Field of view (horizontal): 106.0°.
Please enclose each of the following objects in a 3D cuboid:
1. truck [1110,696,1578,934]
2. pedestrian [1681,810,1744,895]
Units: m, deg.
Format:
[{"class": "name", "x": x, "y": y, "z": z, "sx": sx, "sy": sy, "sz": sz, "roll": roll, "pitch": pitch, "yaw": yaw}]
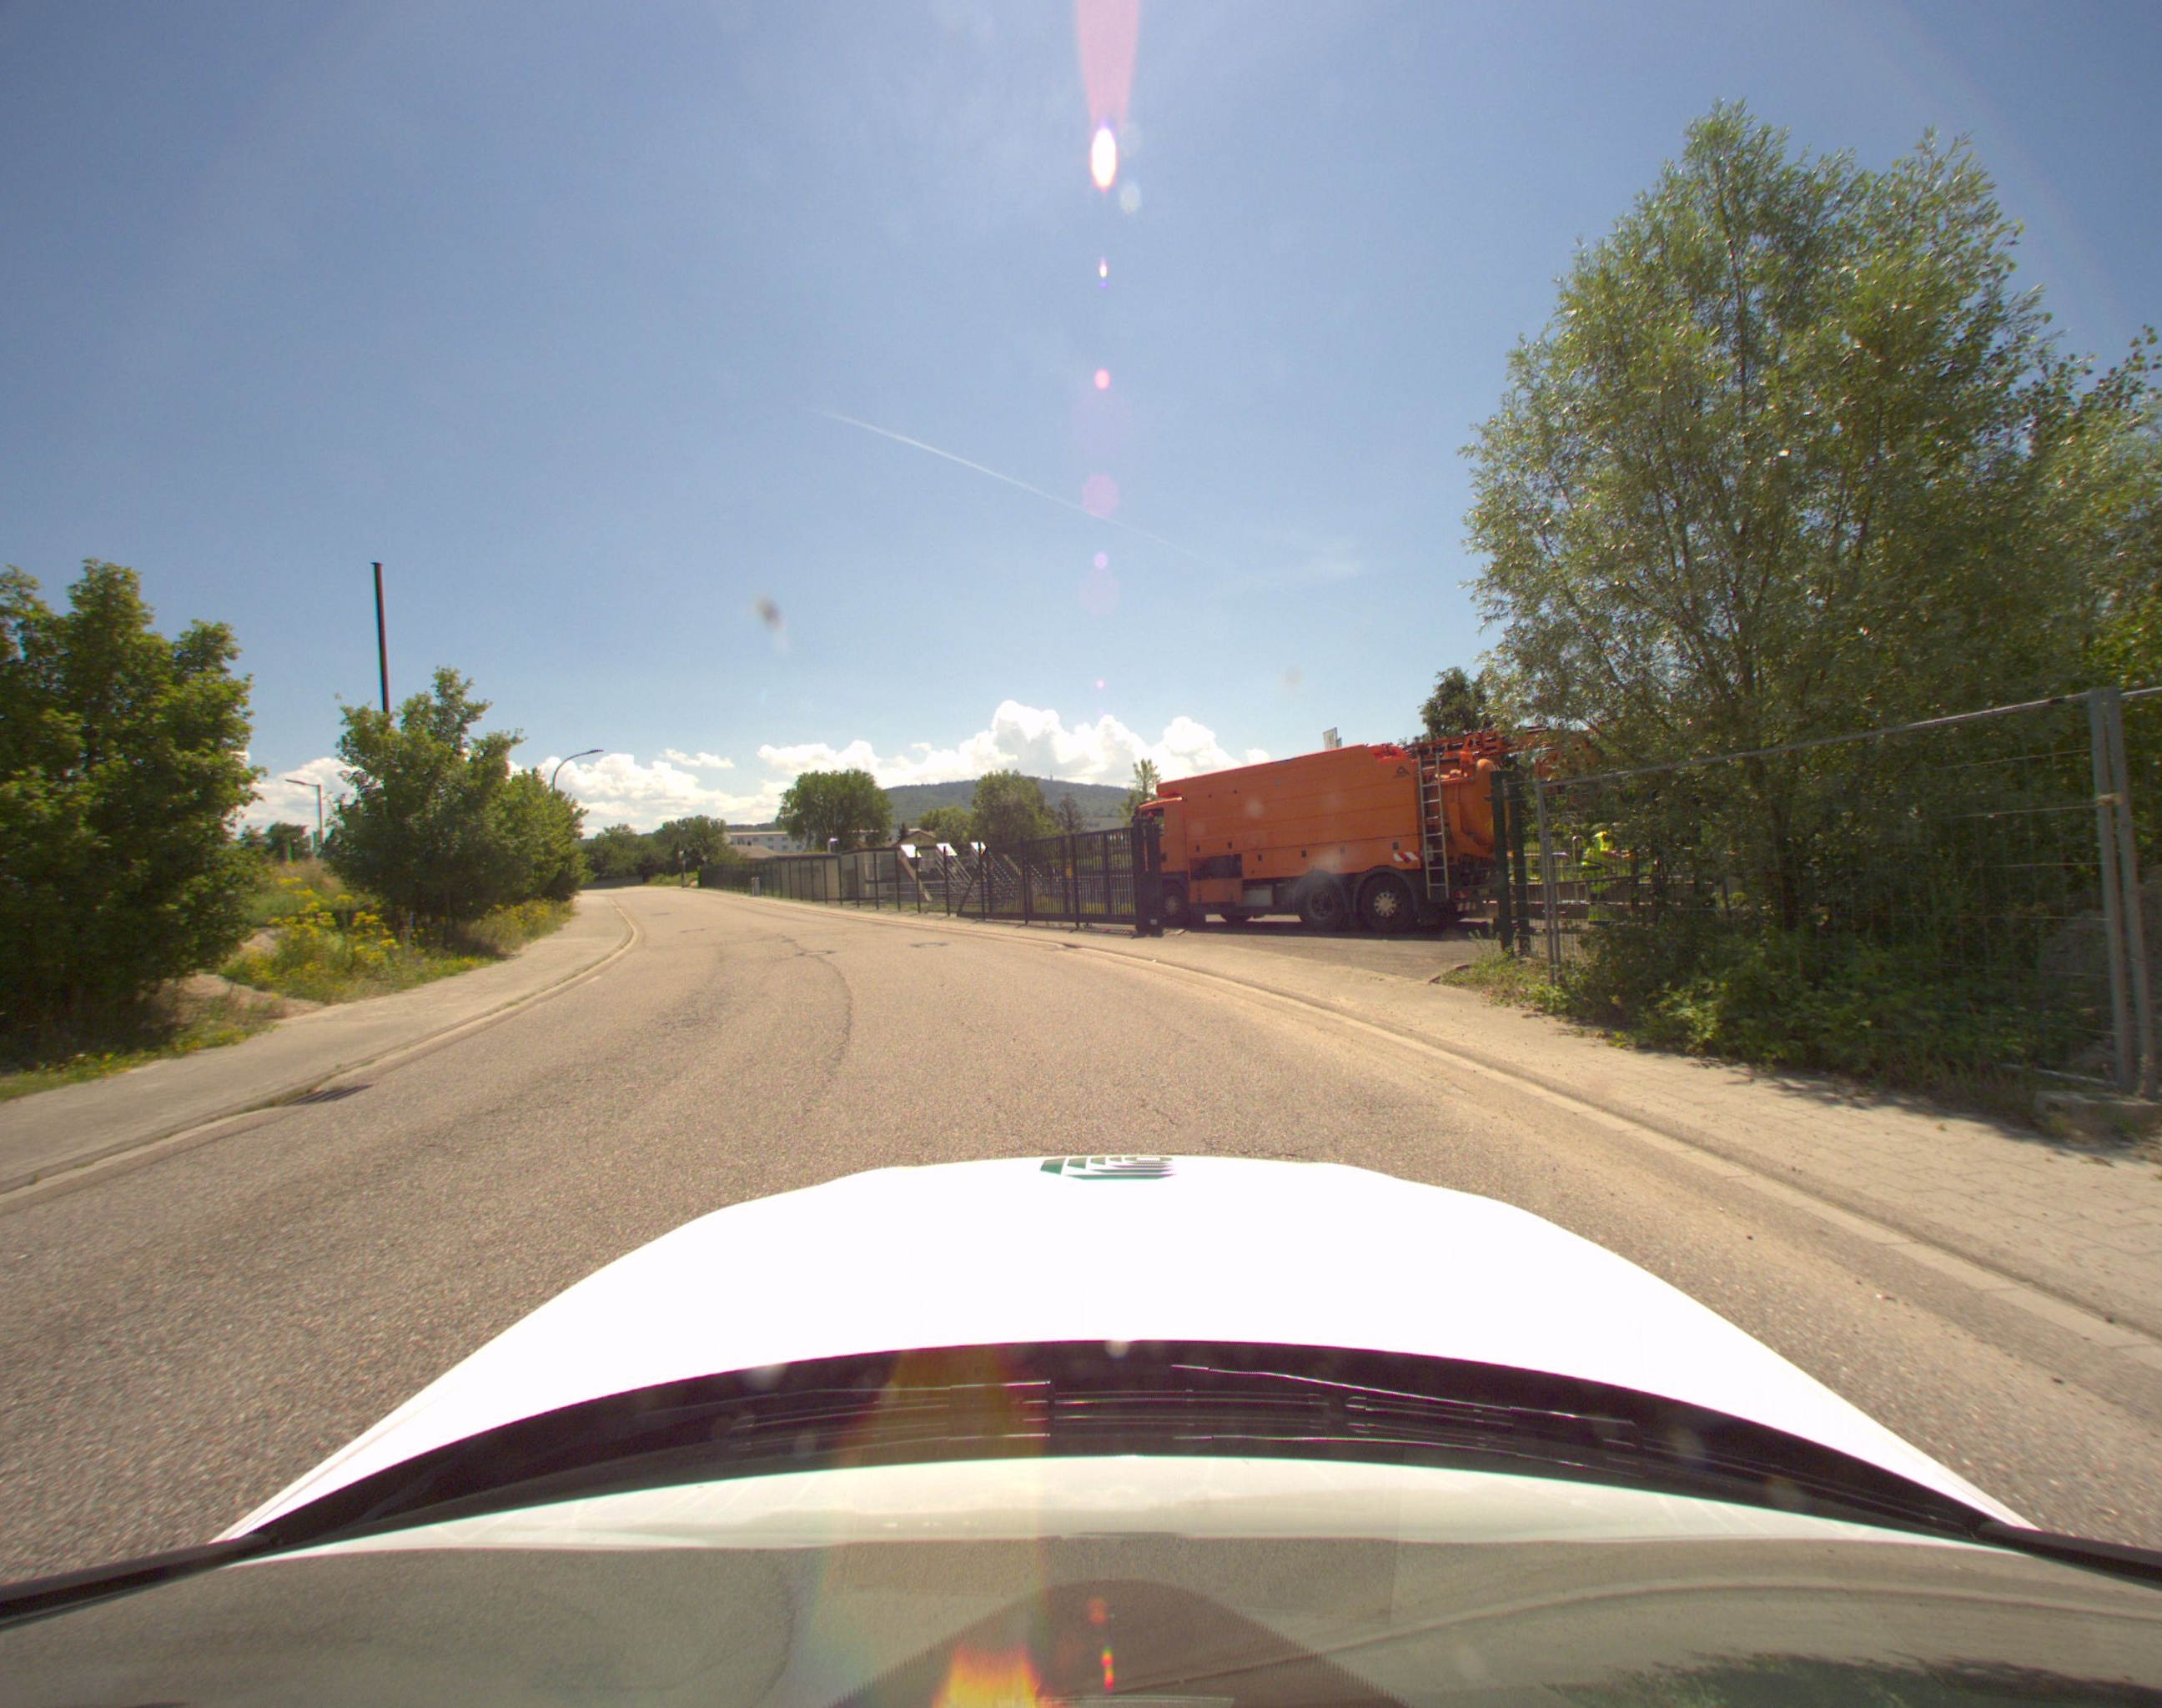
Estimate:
[{"class": "truck", "x": 5.108, "y": -0.486, "z": 17.585, "sx": 4.186, "sy": 3.806, "sz": 8.510, "roll": -3, "pitch": -1, "yaw": -39}, {"class": "pedestrian", "x": 14.132, "y": -0.030, "z": 18.223, "sx": 0.743, "sy": 1.825, "sz": 0.869, "roll": -3, "pitch": 0, "yaw": -37}]
